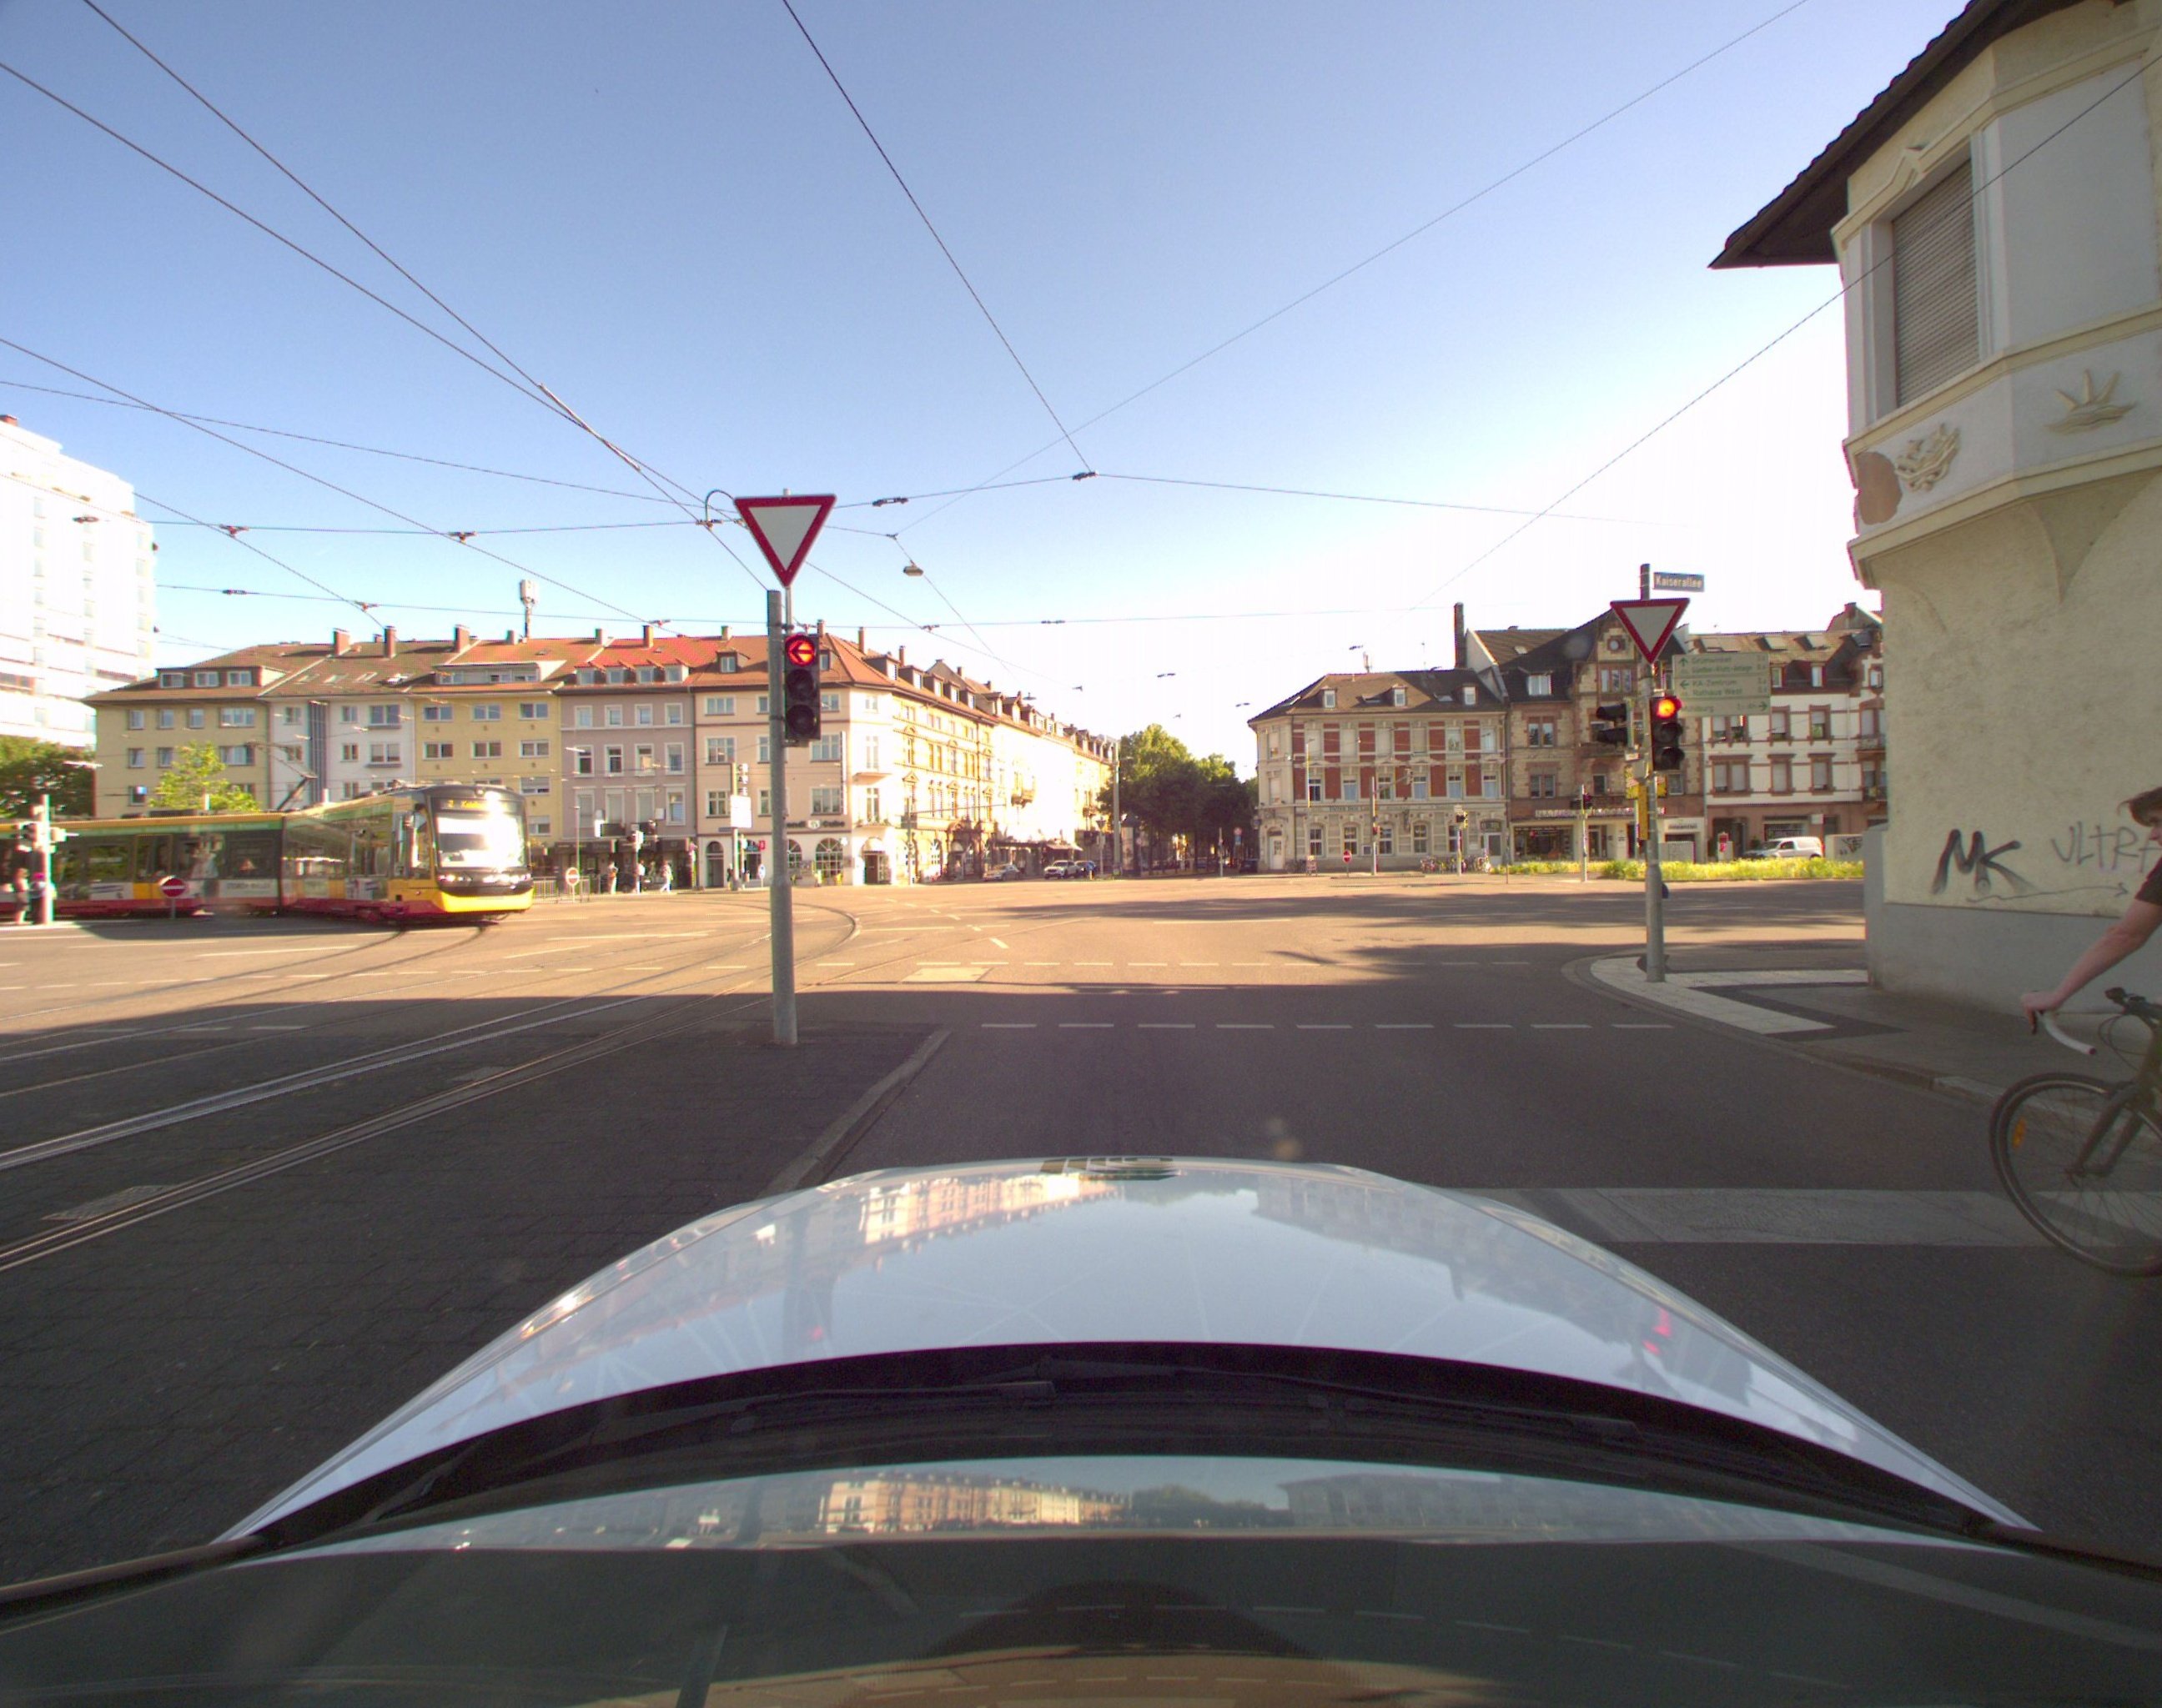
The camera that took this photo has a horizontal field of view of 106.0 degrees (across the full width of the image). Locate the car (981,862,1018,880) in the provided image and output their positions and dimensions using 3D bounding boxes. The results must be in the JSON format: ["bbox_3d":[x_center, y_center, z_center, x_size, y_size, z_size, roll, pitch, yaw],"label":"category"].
[{"bbox_3d":[-6.708,1.420,67.227,1.664,1.354,3.608,-2,0,19],"label":"car"}]

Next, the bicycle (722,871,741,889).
[{"bbox_3d":[-22.743,1.689,53.026,0.570,1.077,1.497,0,-1,2],"label":"bicycle"}]

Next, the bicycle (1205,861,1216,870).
[{"bbox_3d":[15.769,1.385,99.282,0.636,1.021,1.839,0,-1,-12],"label":"bicycle"}]

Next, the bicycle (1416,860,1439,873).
[{"bbox_3d":[22.428,0.819,52.699,0.656,0.840,2.162,0,-1,3],"label":"bicycle"}]

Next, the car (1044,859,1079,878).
[{"bbox_3d":[-1.603,1.209,67.511,1.664,1.483,3.789,-2,0,19],"label":"car"}]

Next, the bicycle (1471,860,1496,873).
[{"bbox_3d":[26.011,0.792,52.720,0.656,0.840,2.162,0,-1,3],"label":"bicycle"}]

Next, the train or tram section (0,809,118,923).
[{"bbox_3d":[-41.880,0.552,28.785,12.042,3.814,2.941,-1,0,0],"label":"train or tram section"}]

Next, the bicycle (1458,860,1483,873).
[{"bbox_3d":[25.207,0.798,52.705,0.656,0.840,2.162,0,-1,3],"label":"bicycle"}]

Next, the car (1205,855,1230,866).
[{"bbox_3d":[21.447,1.052,127.723,3.549,1.648,1.691,-2,0,19],"label":"car"}]

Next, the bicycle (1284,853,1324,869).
[{"bbox_3d":[15.606,0.494,57.062,2.547,1.174,0.818,0,-1,-1],"label":"bicycle"}]

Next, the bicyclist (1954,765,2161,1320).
[{"bbox_3d":[3.581,0.572,2.502,0.570,1.701,1.117,-1,0,2],"label":"bicyclist"}]

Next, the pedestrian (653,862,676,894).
[{"bbox_3d":[-20.393,1.159,39.860,0.545,1.577,0.838,-1,-1,29],"label":"pedestrian"}]

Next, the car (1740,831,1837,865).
[{"bbox_3d":[45.445,-0.390,52.406,4.406,2.013,2.002,-1,0,4],"label":"car"}]

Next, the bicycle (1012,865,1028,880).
[{"bbox_3d":[-4.892,1.480,65.535,0.696,1.118,1.642,-1,-1,16],"label":"bicycle"}]

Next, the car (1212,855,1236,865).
[{"bbox_3d":[23.353,0.958,133.157,3.549,1.648,1.691,-2,0,19],"label":"car"}]

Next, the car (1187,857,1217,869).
[{"bbox_3d":[17.203,1.250,115.457,3.870,1.648,1.691,-2,0,19],"label":"car"}]

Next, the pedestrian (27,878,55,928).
[{"bbox_3d":[-31.910,1.496,24.990,0.456,1.505,0.485,-1,1,38],"label":"pedestrian"}]

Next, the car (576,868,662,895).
[{"bbox_3d":[-30.363,1.787,53.636,4.347,1.711,2.308,0,-1,4],"label":"car"}]

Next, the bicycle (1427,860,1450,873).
[{"bbox_3d":[23.163,0.813,52.758,0.656,0.840,2.162,0,-1,3],"label":"bicycle"}]

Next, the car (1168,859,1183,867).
[{"bbox_3d":[15.718,1.514,135.604,1.664,1.354,3.608,-2,0,19],"label":"car"}]

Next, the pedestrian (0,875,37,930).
[{"bbox_3d":[-32.916,1.497,25.239,0.456,1.644,0.643,-1,1,38],"label":"pedestrian"}]

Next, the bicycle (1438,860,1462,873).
[{"bbox_3d":[23.888,0.808,52.744,0.656,0.840,2.162,0,-1,3],"label":"bicycle"}]

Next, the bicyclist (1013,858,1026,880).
[{"bbox_3d":[-4.939,1.205,65.415,0.772,1.803,1.060,-1,-1,16],"label":"bicyclist"}]

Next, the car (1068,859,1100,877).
[{"bbox_3d":[0.309,1.236,73.771,1.664,1.483,3.967,-2,0,19],"label":"car"}]

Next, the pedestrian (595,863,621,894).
[{"bbox_3d":[-24.726,1.285,42.562,0.842,1.577,0.836,-1,-1,11],"label":"pedestrian"}]

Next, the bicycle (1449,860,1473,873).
[{"bbox_3d":[24.571,0.803,52.751,0.656,0.840,2.162,0,-1,3],"label":"bicycle"}]

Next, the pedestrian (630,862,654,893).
[{"bbox_3d":[-22.588,1.179,41.942,0.720,1.577,0.836,-1,-1,11],"label":"pedestrian"}]

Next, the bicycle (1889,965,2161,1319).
[{"bbox_3d":[3.606,0.953,2.511,0.516,0.970,1.750,-1,0,2],"label":"bicycle"}]

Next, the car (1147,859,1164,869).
[{"bbox_3d":[11.241,1.516,122.365,1.664,1.354,3.608,-2,0,19],"label":"car"}]

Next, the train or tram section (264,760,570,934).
[{"bbox_3d":[-18.982,-0.036,22.726,12.884,3.814,2.960,-1,0,34],"label":"train or tram section"}]

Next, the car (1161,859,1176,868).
[{"bbox_3d":[14.031,1.495,130.611,1.664,1.354,3.608,-2,0,19],"label":"car"}]

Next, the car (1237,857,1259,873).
[{"bbox_3d":[16.905,1.091,82.337,1.664,1.483,3.967,-2,0,19],"label":"car"}]

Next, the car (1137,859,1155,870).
[{"bbox_3d":[9.172,1.486,115.449,1.664,1.354,3.608,-2,0,19],"label":"car"}]

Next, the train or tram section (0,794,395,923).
[{"bbox_3d":[-29.982,0.234,27.408,12.699,3.814,2.950,-1,0,10],"label":"train or tram section"}]

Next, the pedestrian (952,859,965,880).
[{"bbox_3d":[-10.146,1.285,67.295,0.770,1.670,0.834,-1,-1,17],"label":"pedestrian"}]

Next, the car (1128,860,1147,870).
[{"bbox_3d":[7.697,1.483,111.325,1.664,1.354,3.608,-2,0,19],"label":"car"}]

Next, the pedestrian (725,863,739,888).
[{"bbox_3d":[-22.747,1.396,53.031,0.580,1.670,0.753,0,-1,2],"label":"pedestrian"}]
